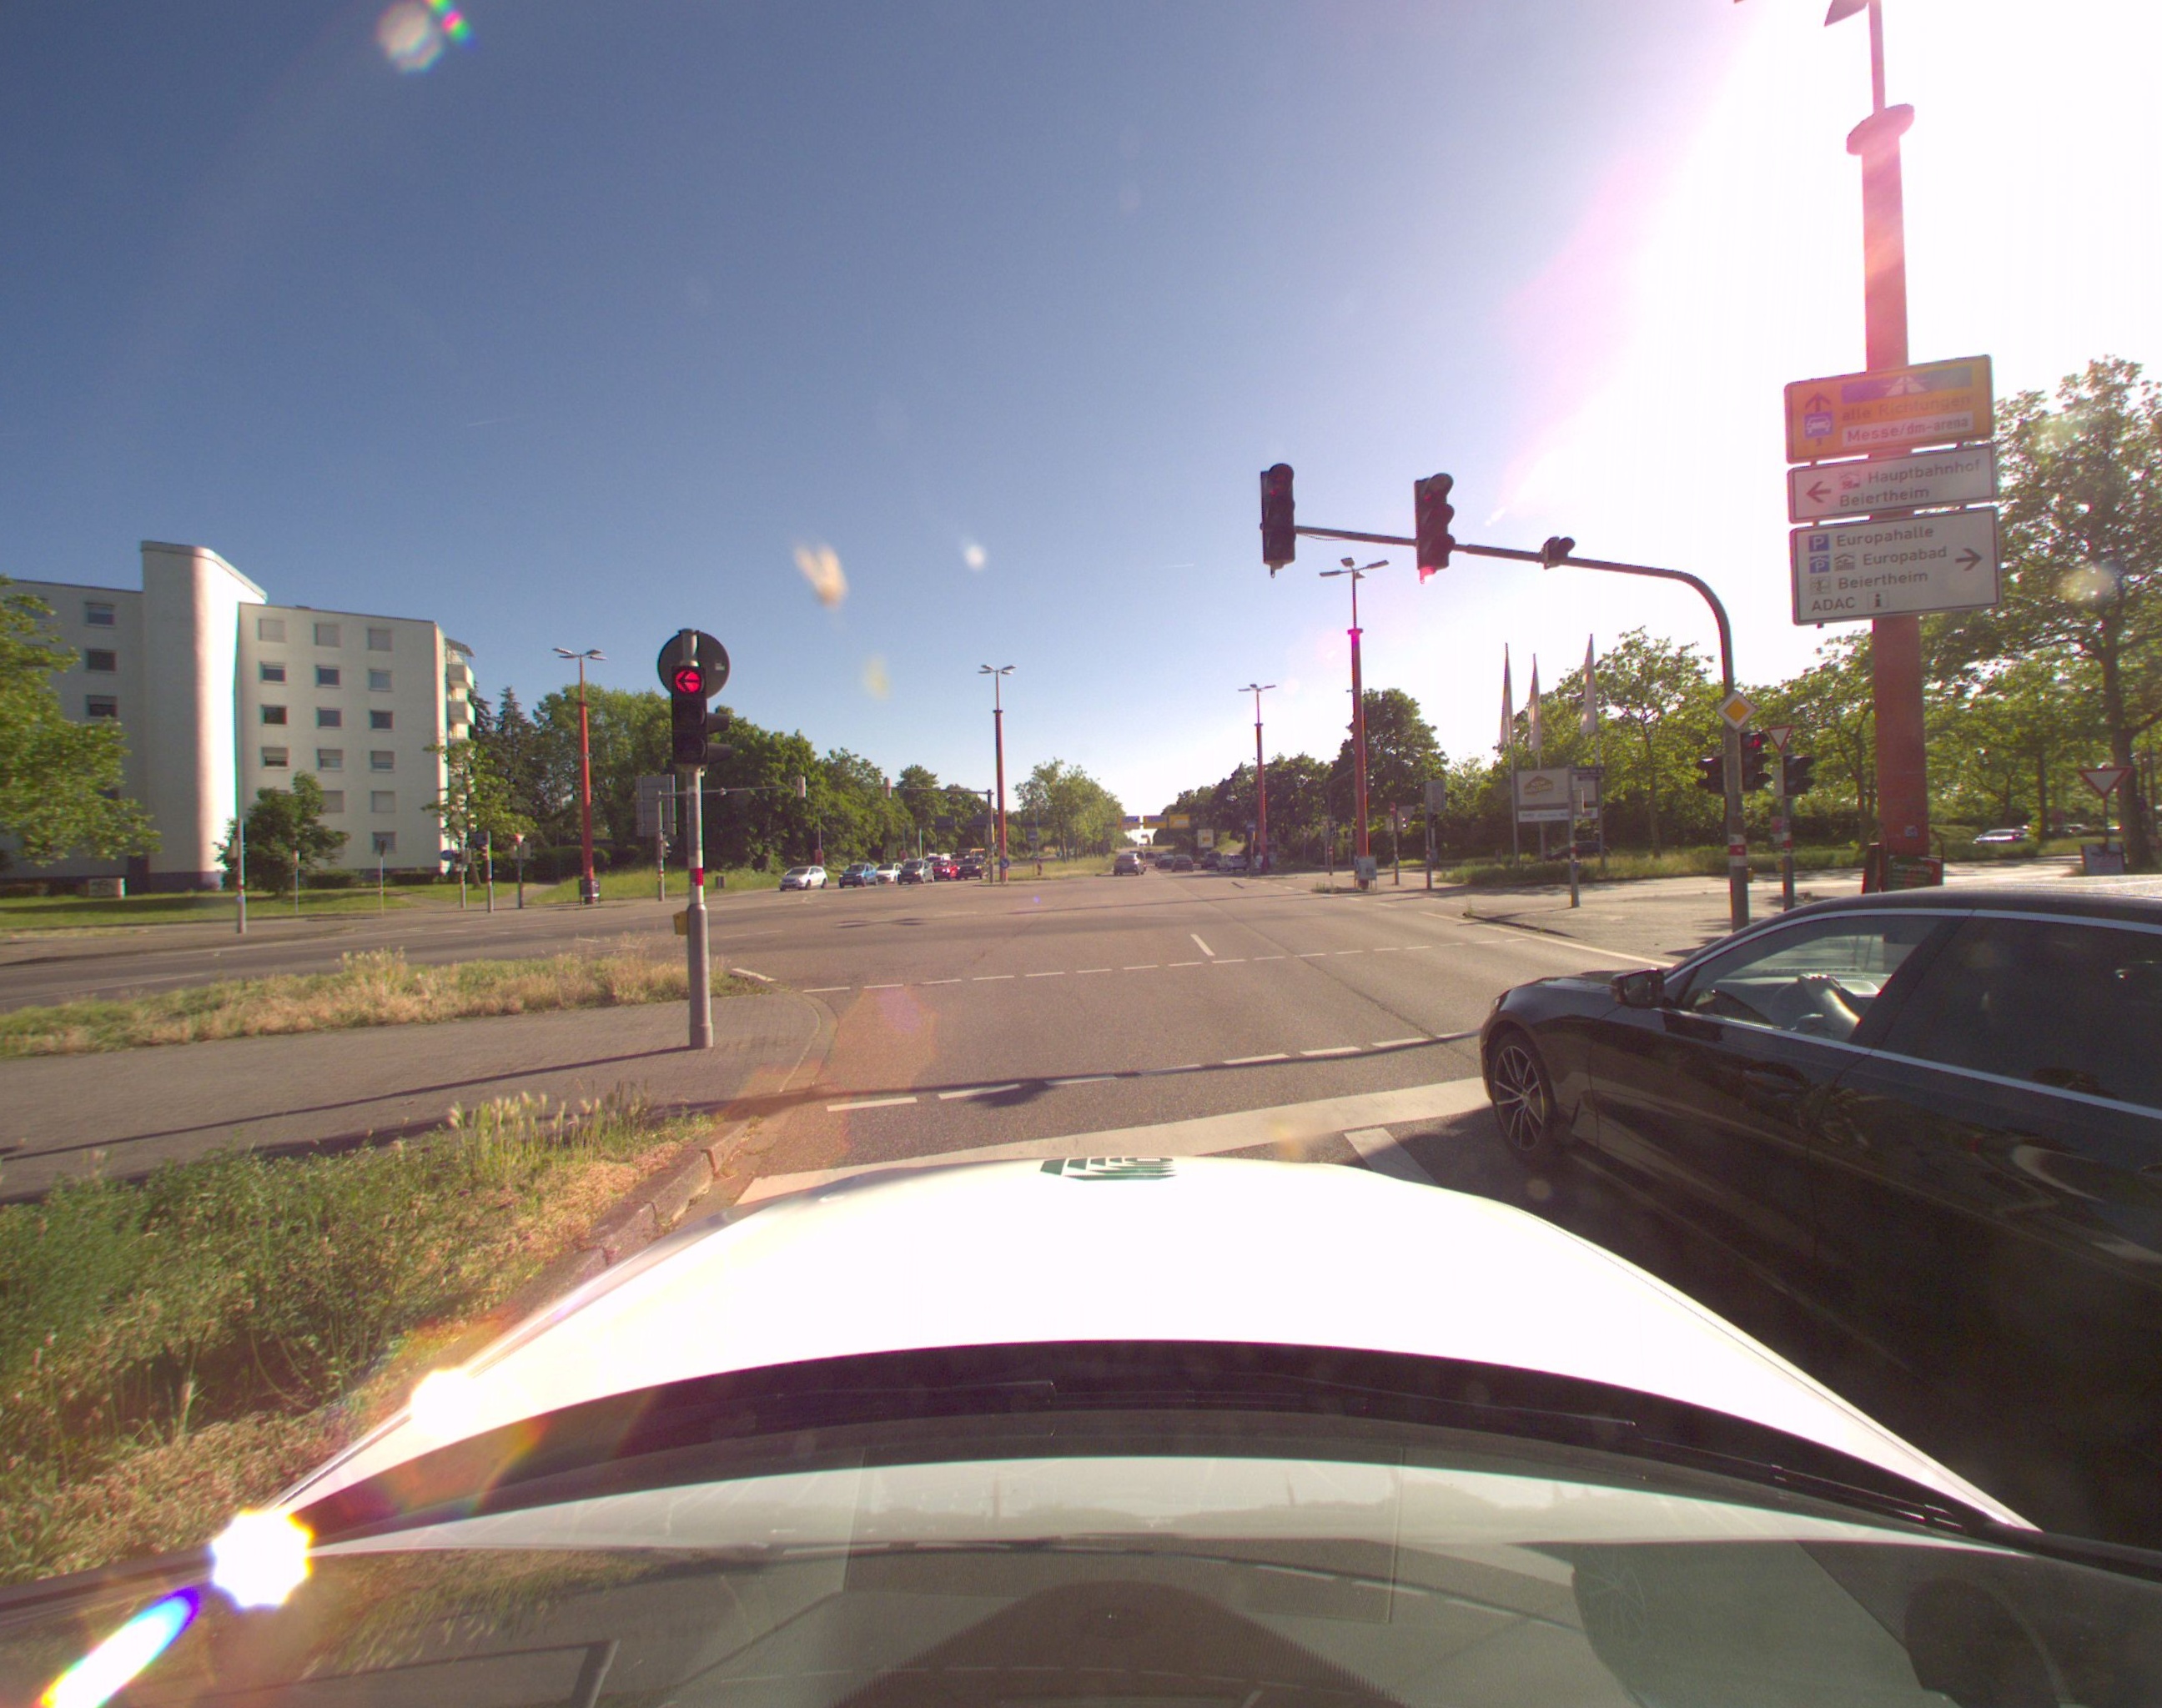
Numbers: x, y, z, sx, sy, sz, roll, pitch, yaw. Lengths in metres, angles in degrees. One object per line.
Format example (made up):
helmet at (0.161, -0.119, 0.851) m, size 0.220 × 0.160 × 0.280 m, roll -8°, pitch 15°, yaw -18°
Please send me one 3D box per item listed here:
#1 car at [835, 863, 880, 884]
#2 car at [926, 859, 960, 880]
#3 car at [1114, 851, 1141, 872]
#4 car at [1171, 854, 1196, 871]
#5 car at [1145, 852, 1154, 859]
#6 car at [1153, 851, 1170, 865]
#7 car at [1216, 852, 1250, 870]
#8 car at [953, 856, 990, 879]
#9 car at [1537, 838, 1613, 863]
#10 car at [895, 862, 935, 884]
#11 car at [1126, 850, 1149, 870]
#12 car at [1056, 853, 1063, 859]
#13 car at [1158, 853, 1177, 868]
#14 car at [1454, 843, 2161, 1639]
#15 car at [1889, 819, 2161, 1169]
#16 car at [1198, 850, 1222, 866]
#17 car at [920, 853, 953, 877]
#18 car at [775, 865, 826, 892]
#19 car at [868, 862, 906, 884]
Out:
car at (-14.086, 1.211, 51.428) m, size 1.733 × 1.243 × 3.613 m, roll -2°, pitch 0°, yaw 1°
car at (-9.903, 1.086, 58.697) m, size 1.733 × 1.362 × 3.613 m, roll -2°, pitch 0°, yaw 1°
car at (3.400, 0.517, 59.035) m, size 1.822 × 1.422 × 4.443 m, roll -2°, pitch 0°, yaw 5°
car at (8.601, 0.671, 68.233) m, size 1.748 × 1.350 × 4.376 m, roll -2°, pitch 0°, yaw 11°
car at (14.232, 0.331, 169.443) m, size 1.674 × 1.435 × 4.065 m, roll -2°, pitch 0°, yaw 1°
car at (9.676, 0.508, 98.175) m, size 1.815 × 1.636 × 4.255 m, roll -2°, pitch 0°, yaw 2°
car at (12.830, 0.582, 69.065) m, size 1.677 × 1.467 × 3.985 m, roll -2°, pitch 0°, yaw -7°
car at (-7.522, 0.890, 56.262) m, size 1.812 × 1.508 × 4.002 m, roll -2°, pitch 0°, yaw 2°
car at (33.037, -0.234, 54.506) m, size 3.978 × 1.578 × 1.867 m, roll -2°, pitch 0°, yaw -4°
car at (-10.602, 1.187, 52.315) m, size 1.733 × 1.243 × 3.613 m, roll -2°, pitch 0°, yaw 1°
car at (5.023, 0.526, 73.291) m, size 1.839 × 1.708 × 4.309 m, roll -2°, pitch 0°, yaw 2°
car at (-6.283, 0.483, 235.870) m, size 1.834 × 1.666 × 4.001 m, roll 0°, pitch -1°, yaw 2°
car at (8.816, 0.643, 83.165) m, size 1.751 × 1.350 × 4.369 m, roll -2°, pitch 0°, yaw 5°
car at (2.926, 0.690, 2.383) m, size 1.861 × 1.398 × 4.448 m, roll -2°, pitch 0°, yaw 4°
car at (5.673, 0.603, 2.871) m, size 1.732 × 1.578 × 4.032 m, roll -2°, pitch 0°, yaw 3°
car at (12.688, 0.416, 80.207) m, size 1.773 × 1.485 × 4.331 m, roll -2°, pitch 0°, yaw 1°
car at (-12.680, 0.968, 71.620) m, size 1.886 × 2.026 × 5.223 m, roll 0°, pitch -1°, yaw 1°
car at (-17.548, 1.491, 51.110) m, size 1.754 × 1.532 × 3.936 m, roll -2°, pitch 0°, yaw 1°
car at (-13.669, 1.317, 57.537) m, size 1.733 × 1.411 × 3.613 m, roll -2°, pitch 0°, yaw 1°
